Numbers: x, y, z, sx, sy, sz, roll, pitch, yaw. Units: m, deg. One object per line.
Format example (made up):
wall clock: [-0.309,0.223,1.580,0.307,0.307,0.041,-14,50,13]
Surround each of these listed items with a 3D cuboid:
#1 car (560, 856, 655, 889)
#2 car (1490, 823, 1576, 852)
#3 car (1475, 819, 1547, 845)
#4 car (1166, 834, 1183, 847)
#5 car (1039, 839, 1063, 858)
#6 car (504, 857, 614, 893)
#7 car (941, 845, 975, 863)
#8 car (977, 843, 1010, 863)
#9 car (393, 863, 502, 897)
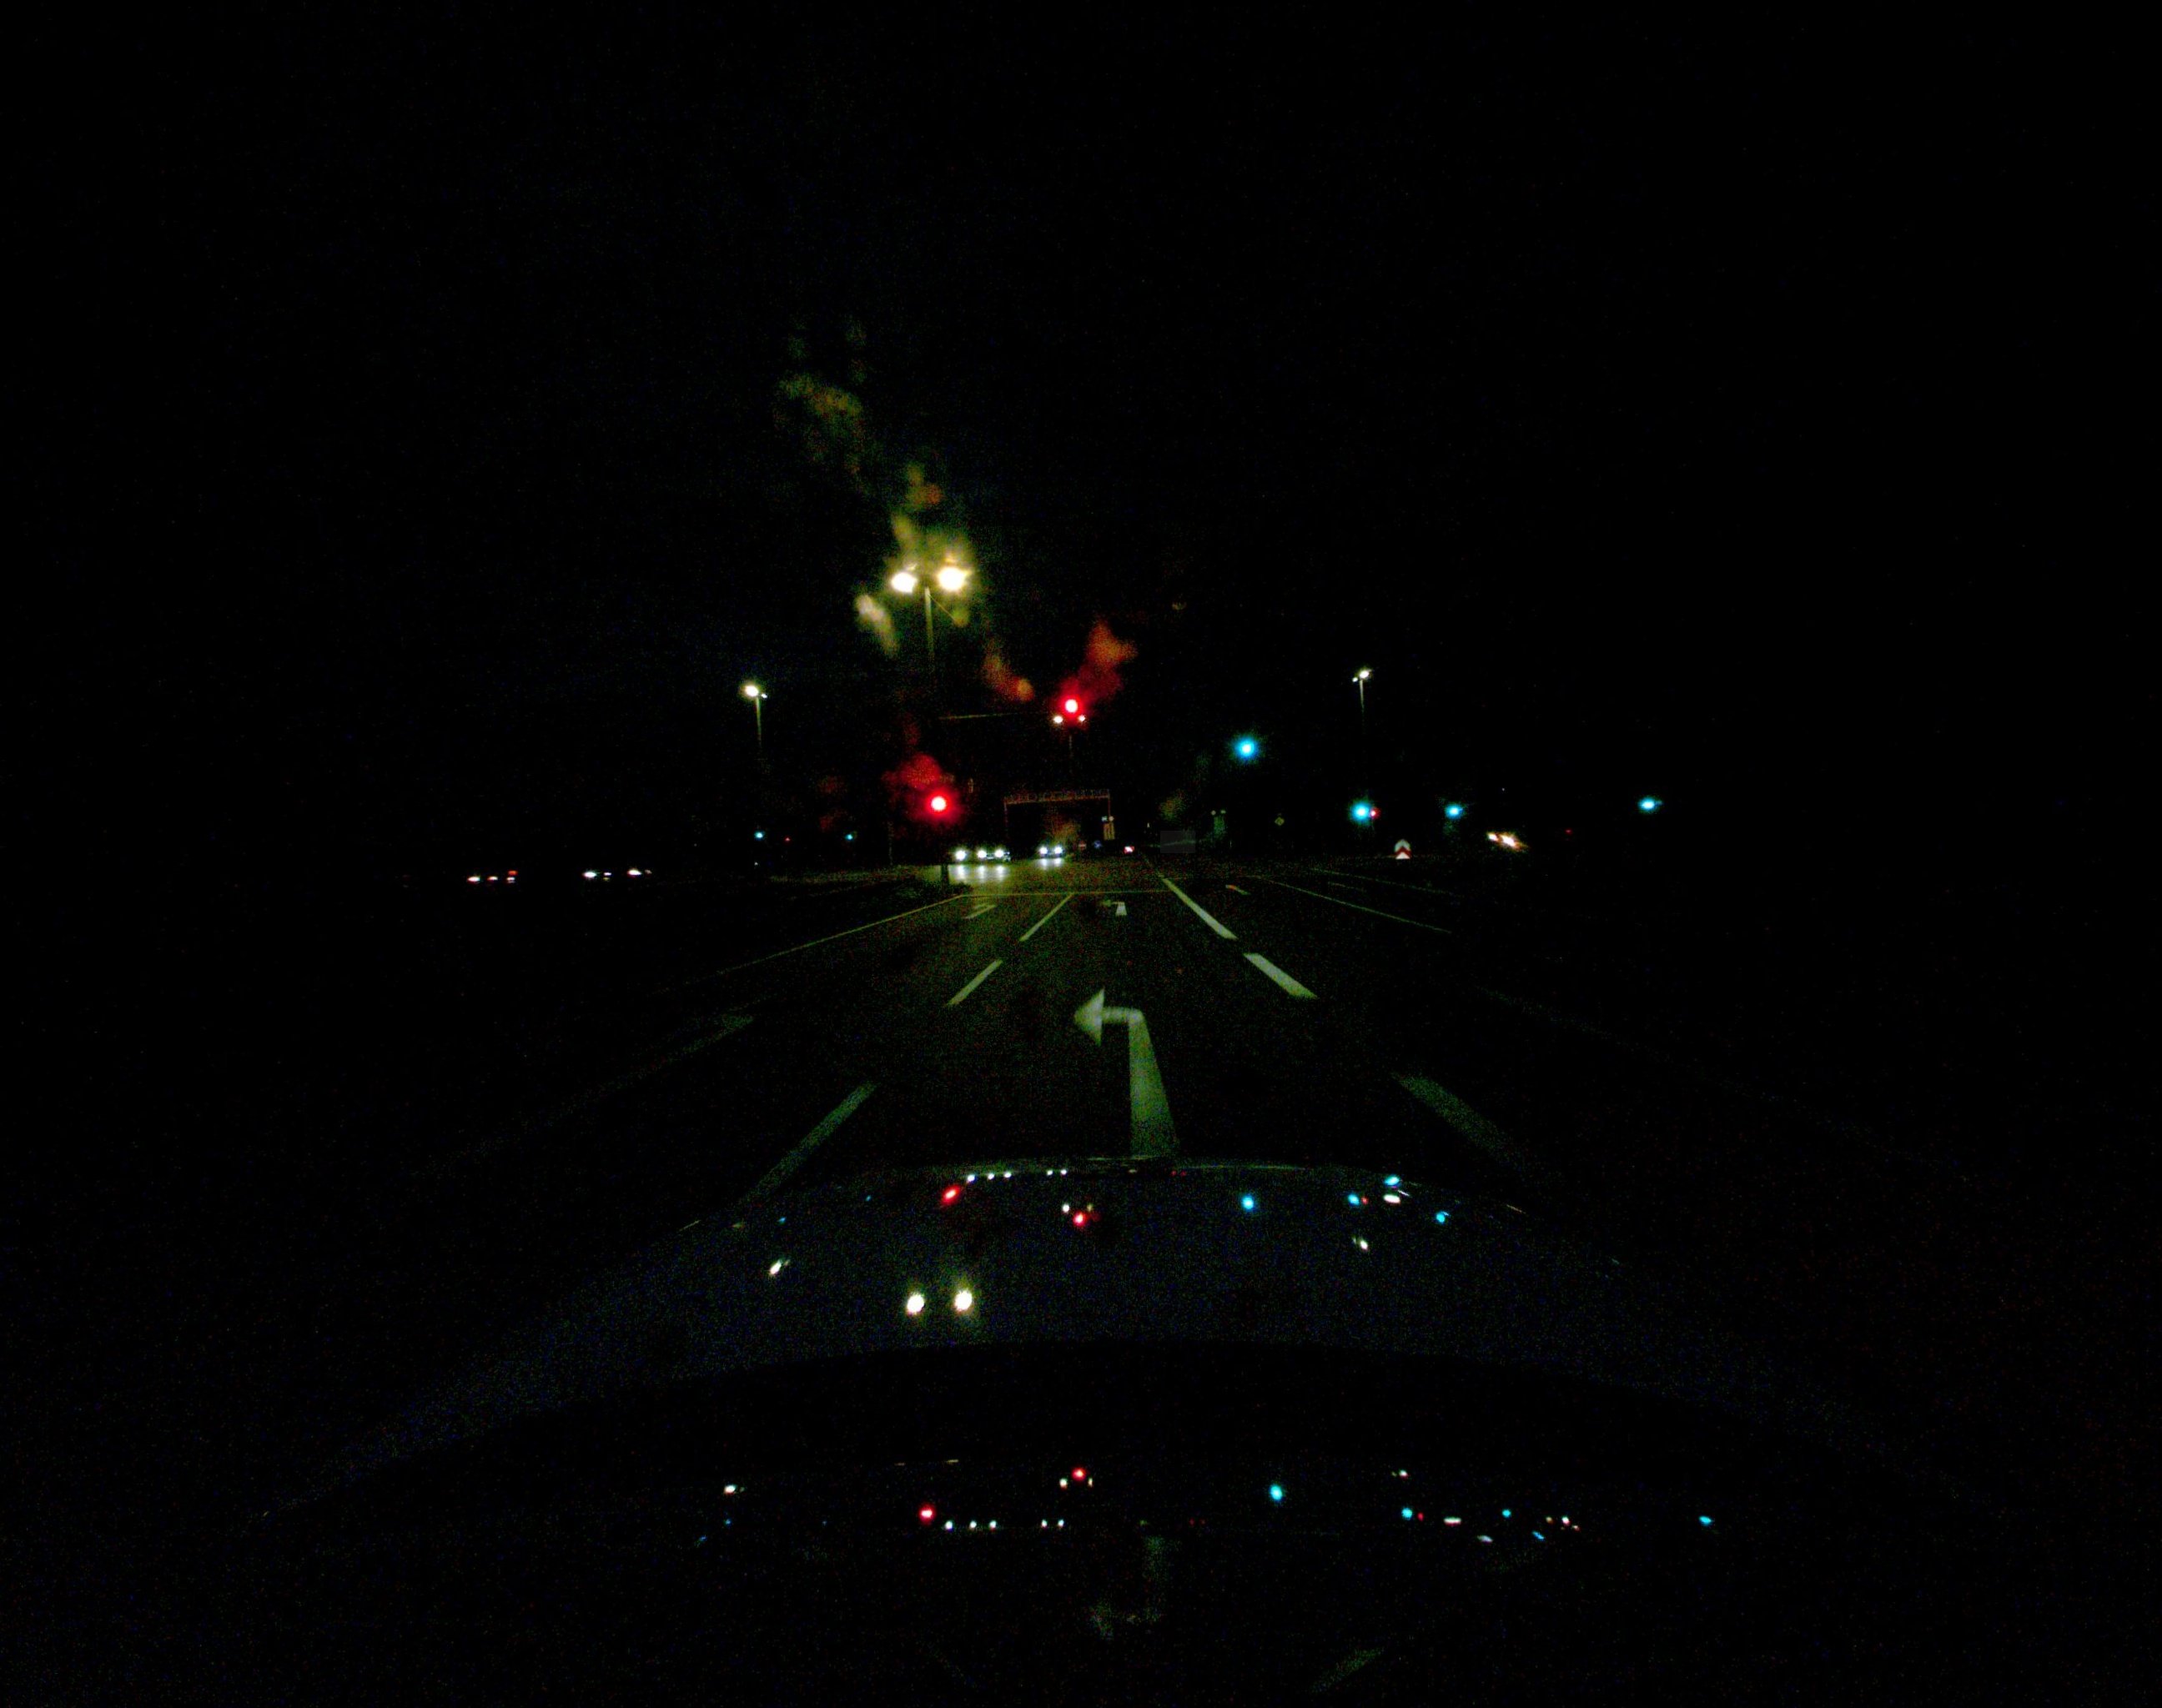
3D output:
car: [-25.485,0.971,43.906,4.028,1.537,1.729,-3,0,0]
car: [27.087,-0.972,48.914,4.061,1.569,2.002,-2,1,-1]
car: [29.434,-1.482,55.826,3.974,1.569,1.900,-3,1,-1]
car: [11.800,-1.683,102.495,1.998,1.611,3.851,-2,0,5]
car: [-2.889,-0.545,78.773,1.986,1.698,4.003,-2,1,2]
car: [-25.919,1.025,40.519,4.297,1.537,1.730,-3,0,1]
car: [-10.560,-0.014,70.090,1.986,1.425,4.535,-2,1,2]
car: [-7.183,-0.111,67.516,1.986,1.481,4.685,-2,1,2]
car: [-31.946,1.291,41.131,3.978,1.473,1.727,-3,0,-3]
